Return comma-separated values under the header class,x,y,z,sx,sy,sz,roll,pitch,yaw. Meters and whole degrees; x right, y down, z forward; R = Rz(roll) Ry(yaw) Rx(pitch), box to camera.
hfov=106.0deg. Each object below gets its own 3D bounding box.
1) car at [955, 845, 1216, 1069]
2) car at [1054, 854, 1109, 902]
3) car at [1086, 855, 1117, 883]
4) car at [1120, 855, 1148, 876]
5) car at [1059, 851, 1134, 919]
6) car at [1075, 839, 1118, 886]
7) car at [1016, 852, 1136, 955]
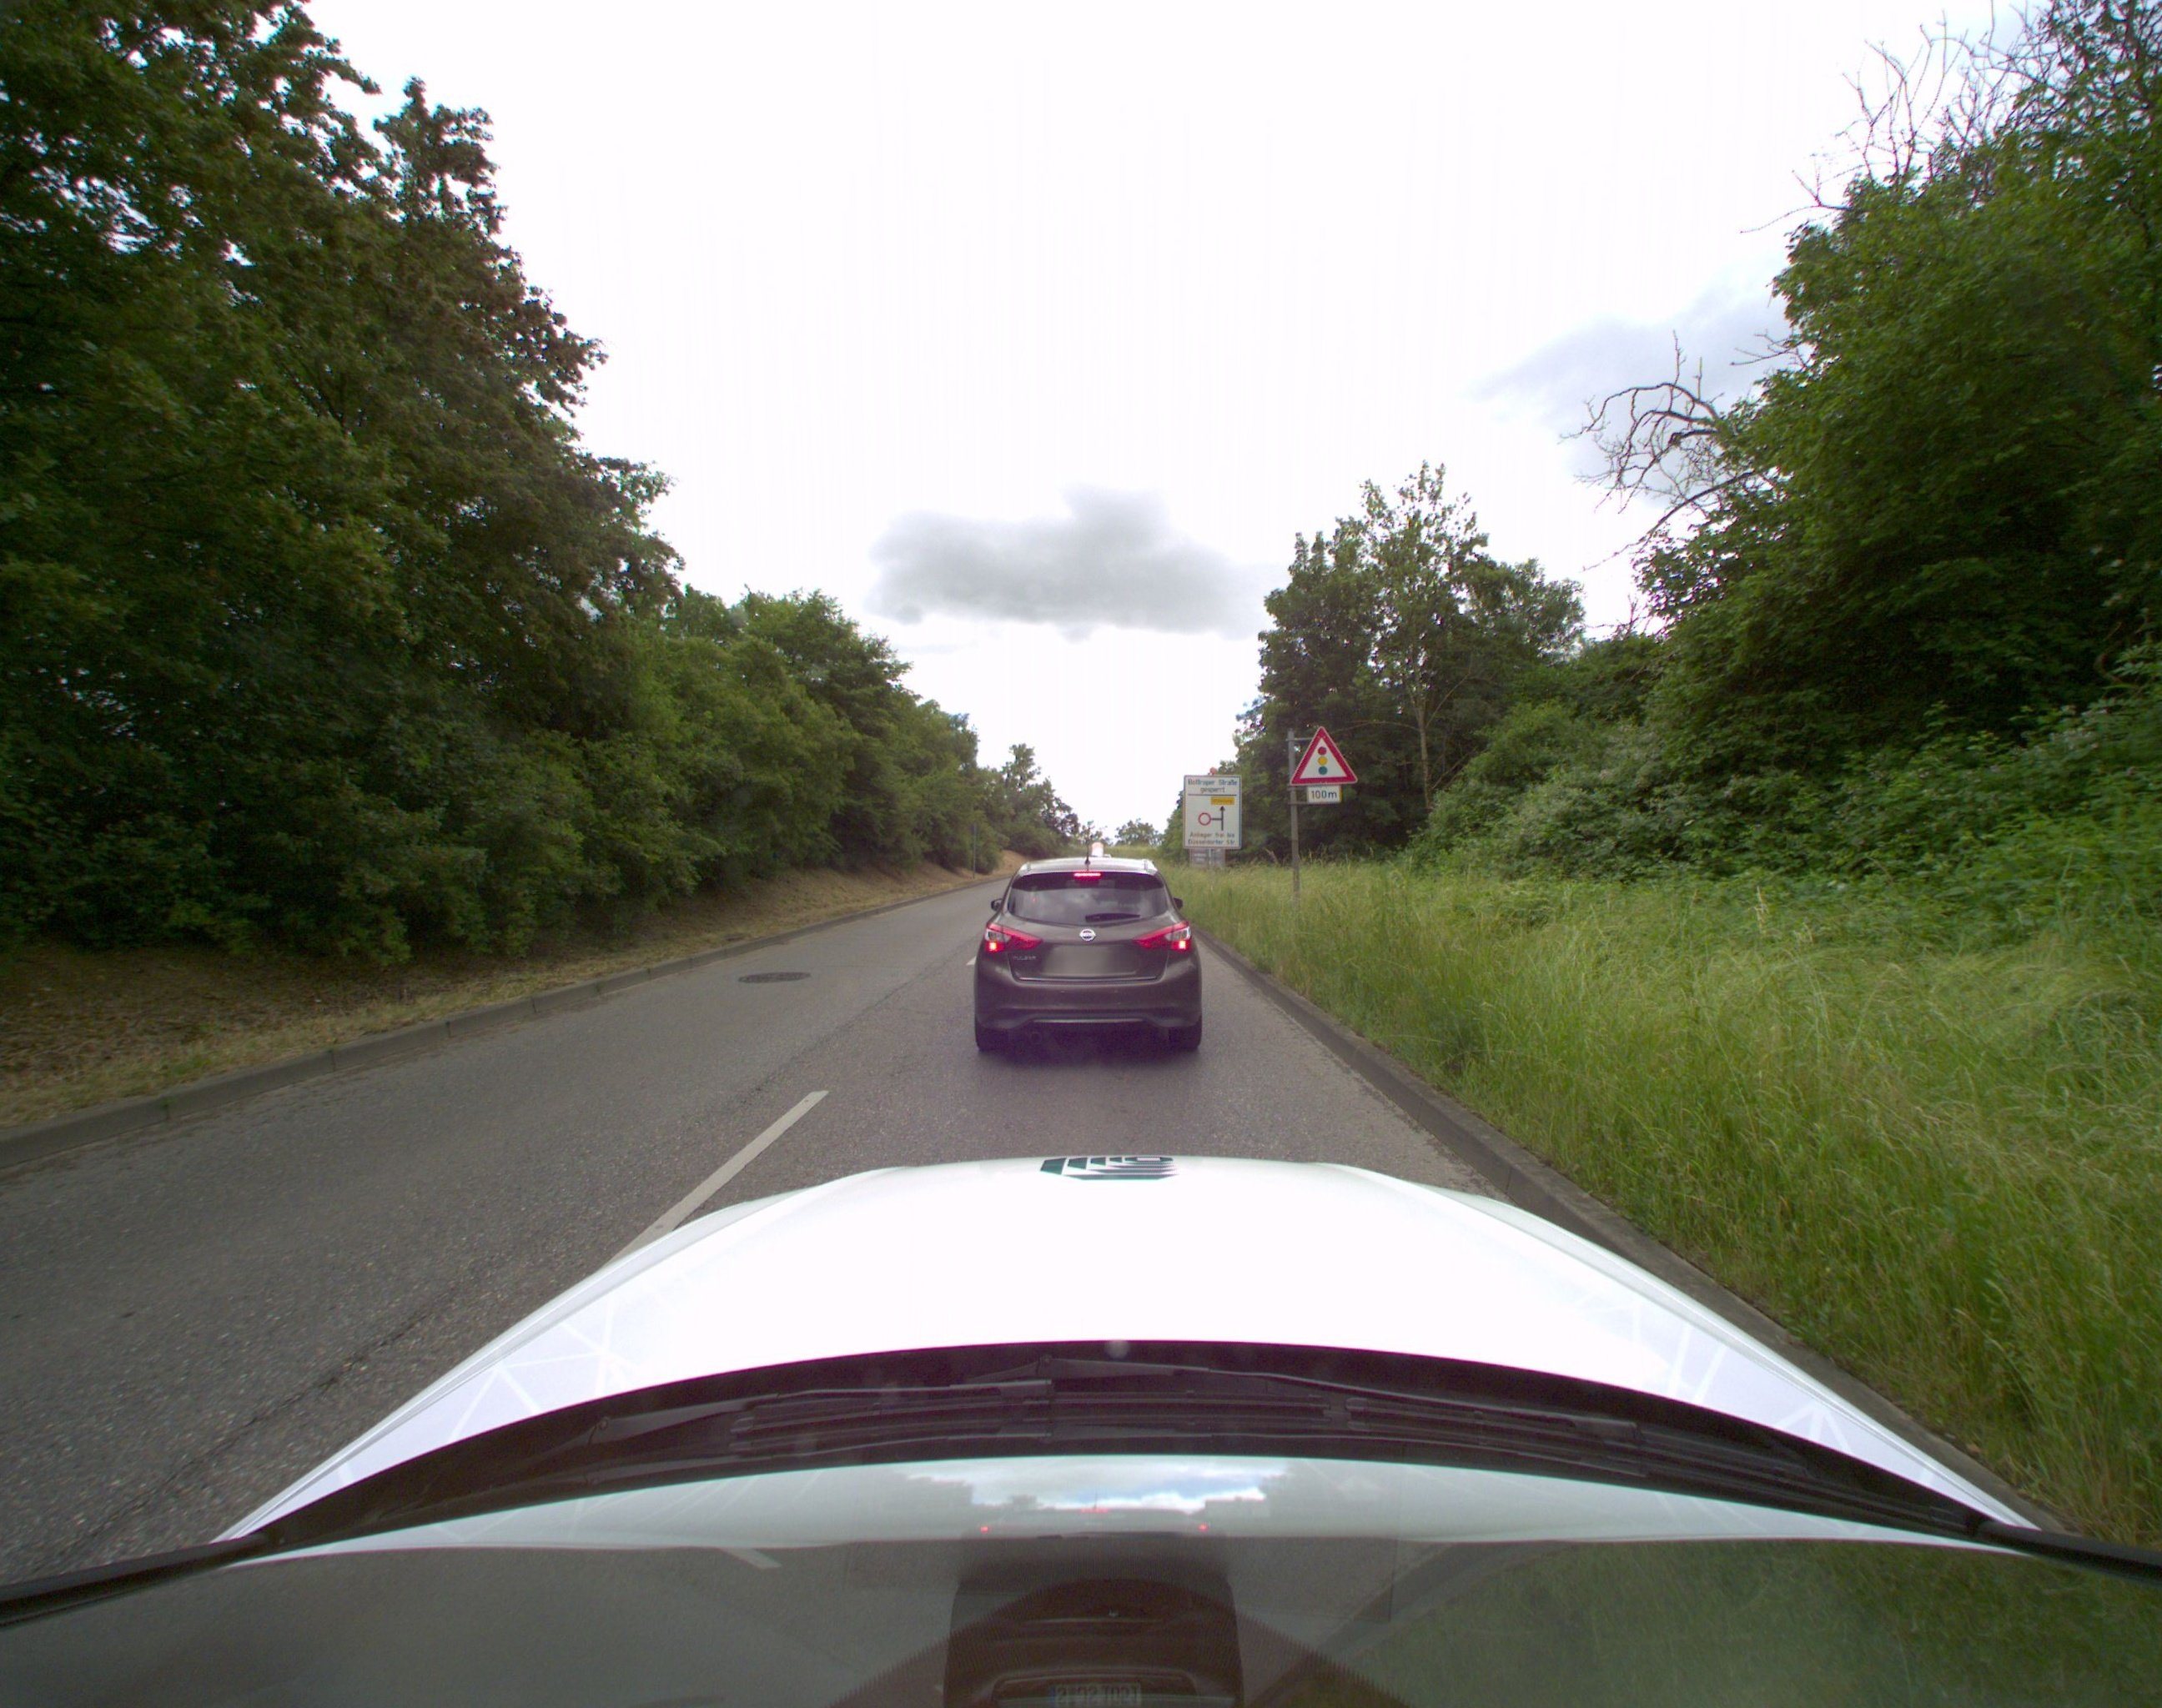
class,x,y,z,sx,sy,sz,roll,pitch,yaw
car,0.043,0.726,7.521,1.824,1.556,3.499,-1,0,0
car,0.078,0.783,28.543,1.729,1.556,3.545,-1,0,2
car,1.239,0.849,48.043,1.729,1.526,3.545,-1,0,2
car,4.253,0.875,64.527,1.725,1.526,3.653,-2,0,11
car,0.424,0.736,20.990,1.729,1.556,3.545,-1,0,2
car,0.678,0.374,36.019,1.730,1.935,3.543,-1,0,1
car,-0.011,0.764,14.433,1.823,1.556,3.626,-1,0,2
